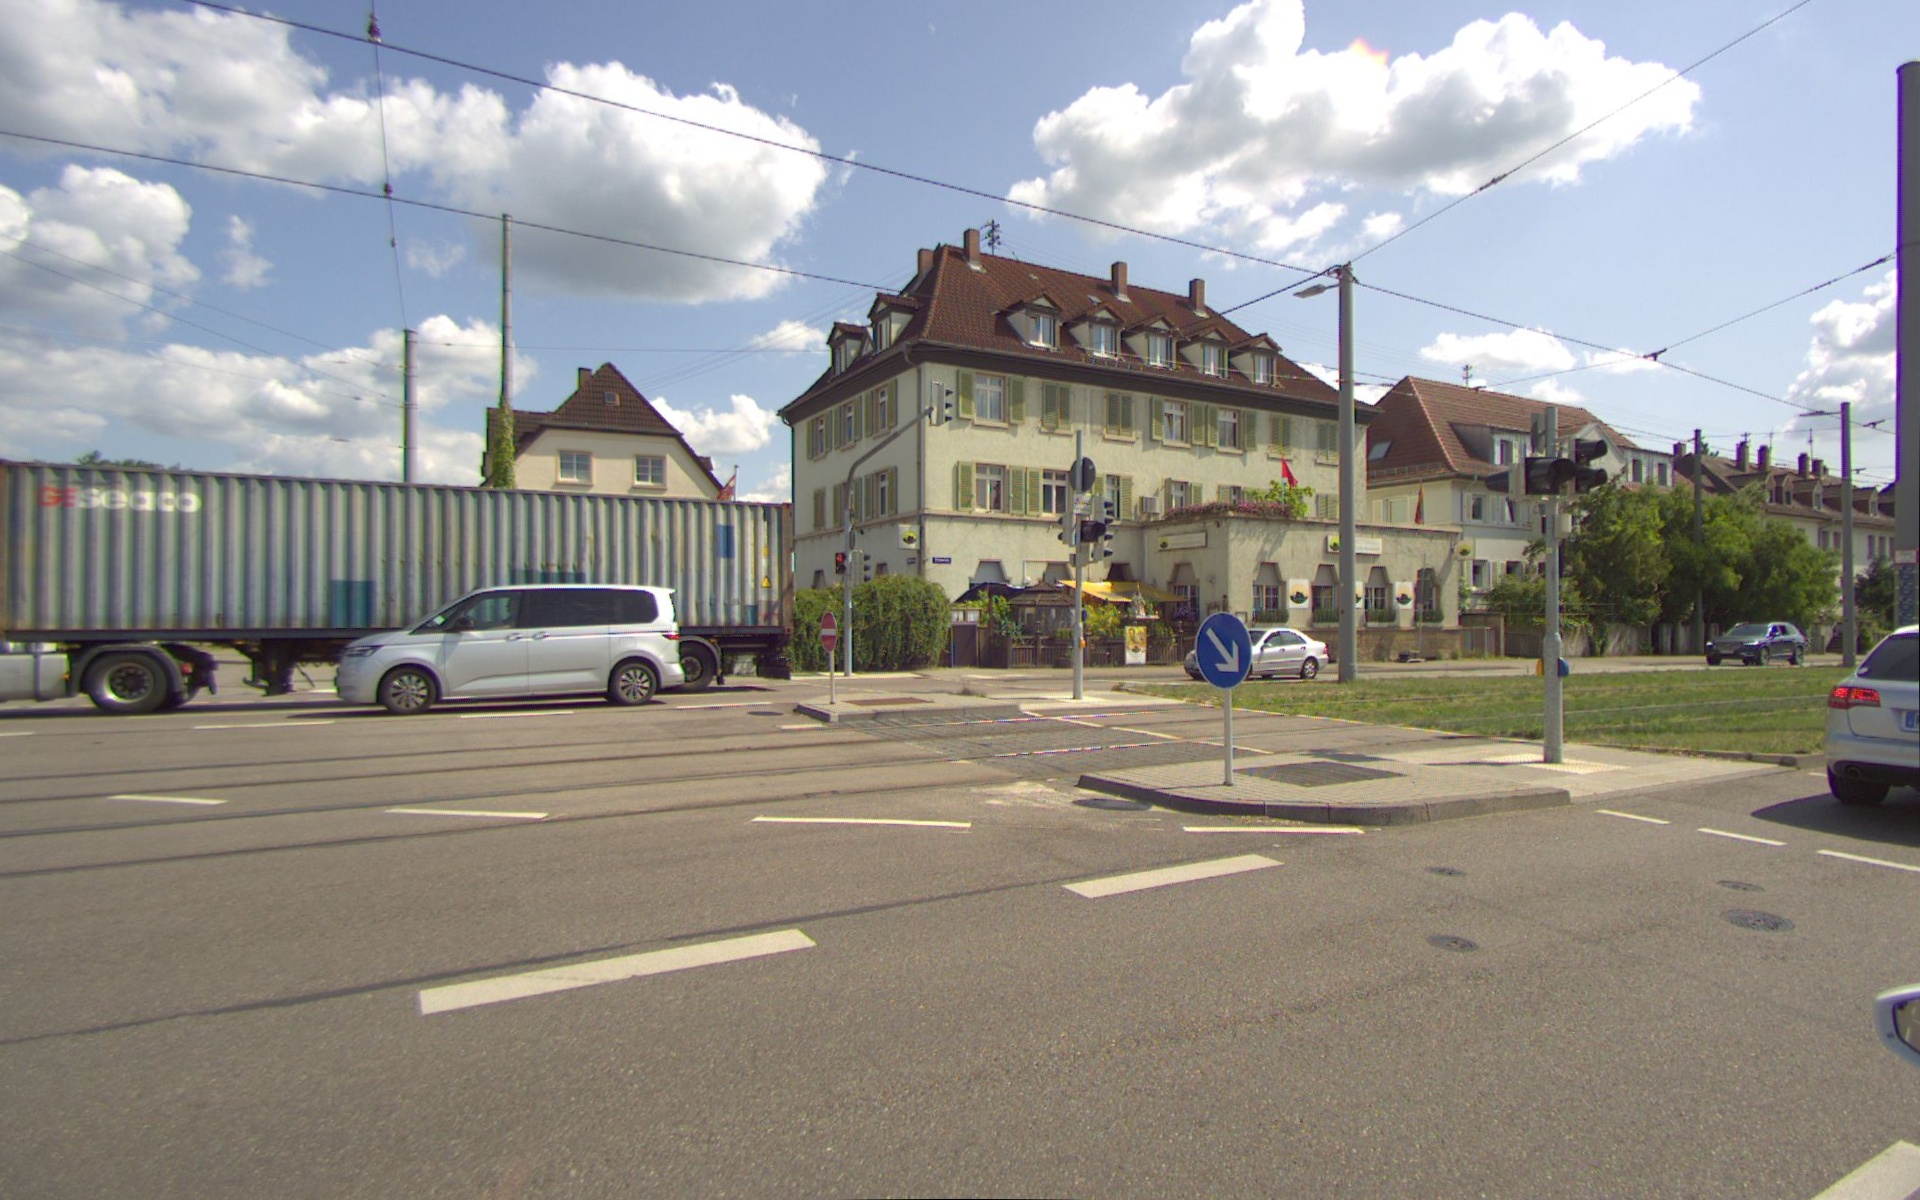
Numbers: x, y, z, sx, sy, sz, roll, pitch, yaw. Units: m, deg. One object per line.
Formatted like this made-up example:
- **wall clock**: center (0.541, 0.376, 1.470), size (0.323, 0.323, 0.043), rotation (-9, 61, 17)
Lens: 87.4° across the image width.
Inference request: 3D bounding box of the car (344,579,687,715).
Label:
- **car**: center (-6.802, 0.712, 15.619), size (4.658, 1.839, 1.786), rotation (1, -2, -31)

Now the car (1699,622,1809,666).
- **car**: center (32.984, 1.807, 41.718), size (4.880, 1.734, 2.005), rotation (1, -2, -31)

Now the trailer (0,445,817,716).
- **trailer**: center (-9.079, -0.237, 18.249), size (12.674, 3.871, 2.589), rotation (0, -3, -28)

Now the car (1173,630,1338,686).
- **car**: center (8.096, 1.545, 27.474), size (4.417, 1.405, 1.787), rotation (1, -2, -29)

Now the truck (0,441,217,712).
- **truck**: center (-14.909, -0.276, 15.139), size (5.594, 3.871, 2.590), rotation (0, -3, -28)

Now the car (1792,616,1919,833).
- **car**: center (8.750, 0.897, 8.045), size (4.667, 1.491, 1.785), rotation (1, 0, -31)
